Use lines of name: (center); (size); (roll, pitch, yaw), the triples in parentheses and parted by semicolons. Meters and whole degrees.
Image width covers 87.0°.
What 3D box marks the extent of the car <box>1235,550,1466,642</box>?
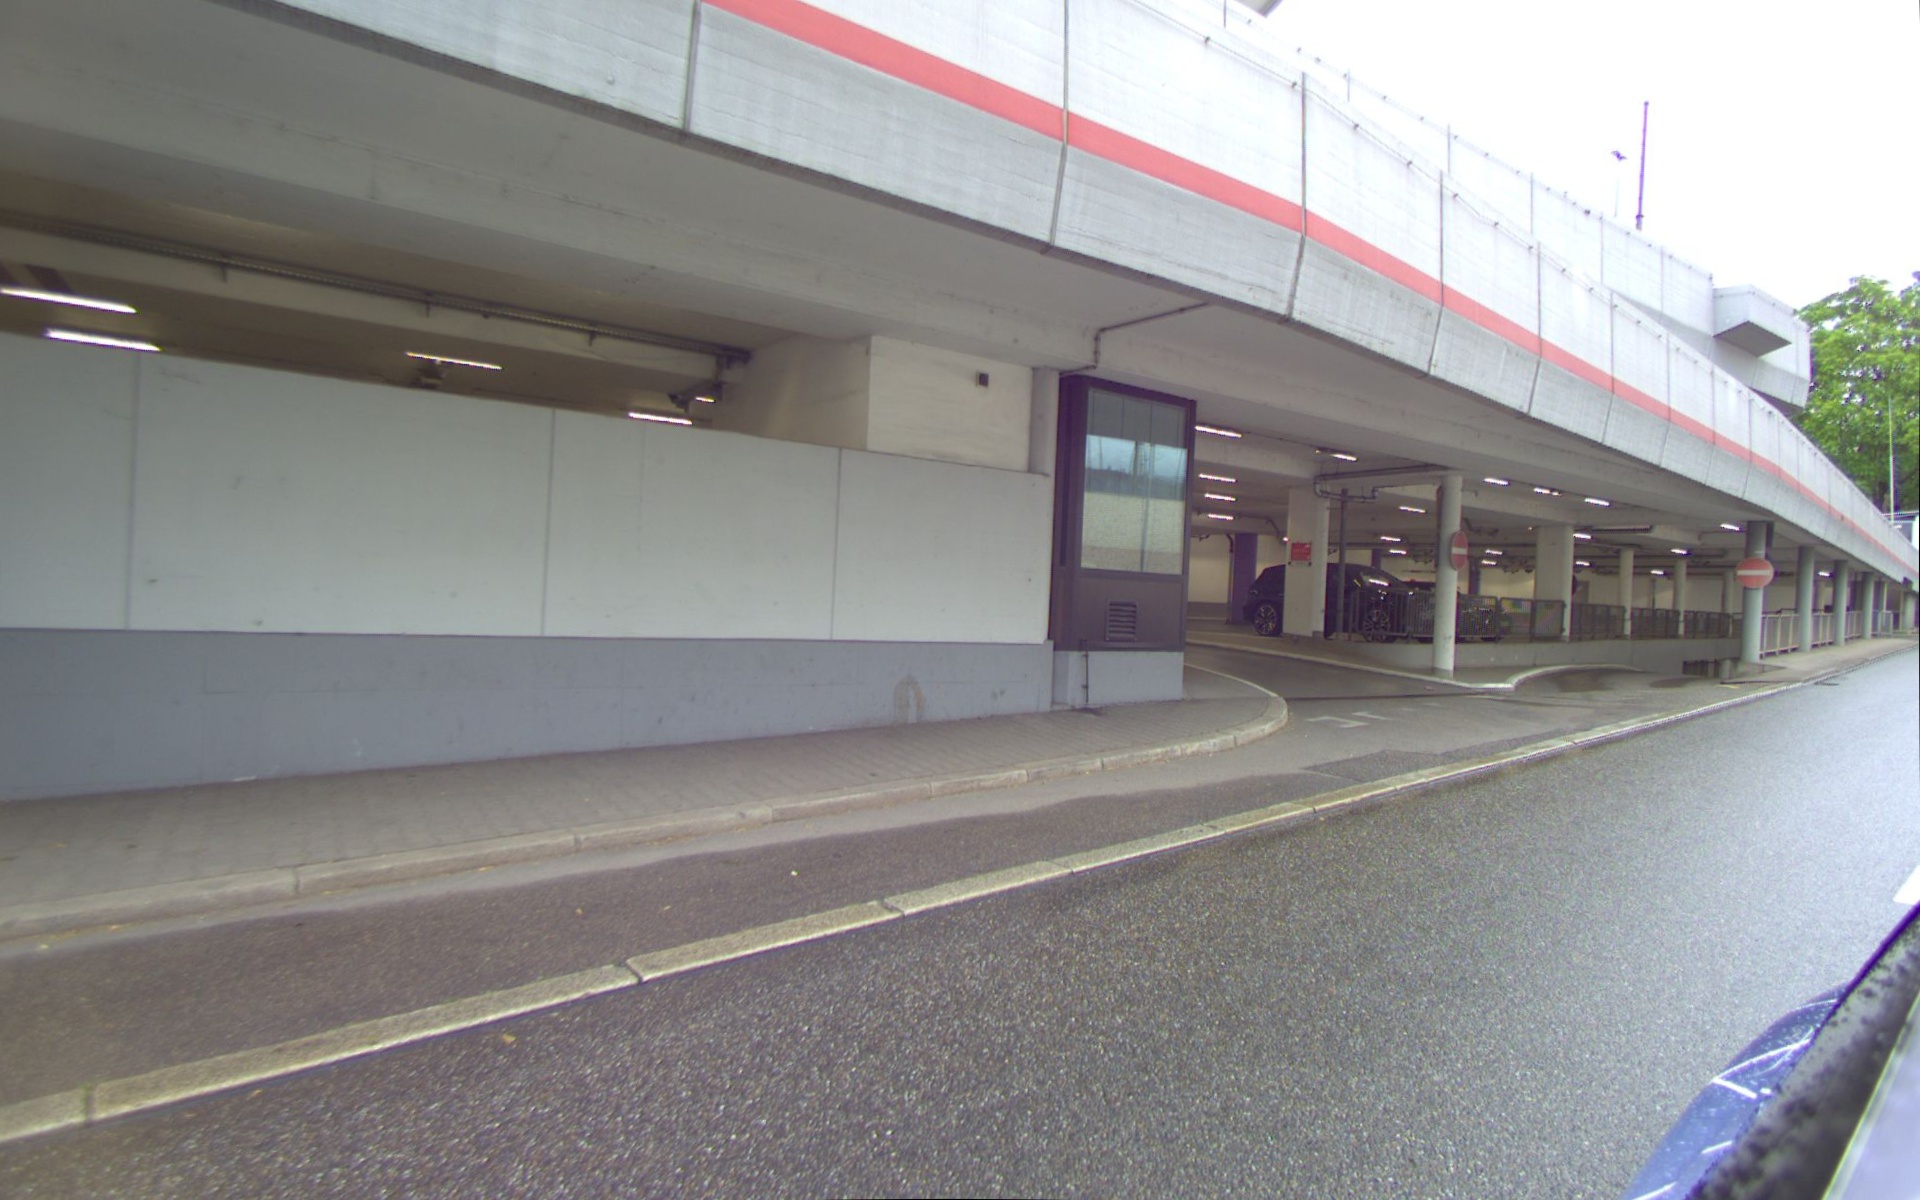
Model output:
car: (8.262, -0.101, 21.802); (1.960, 1.682, 4.261); (5, -2, -31)

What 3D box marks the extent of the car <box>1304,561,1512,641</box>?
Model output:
car: (10.861, -0.009, 24.843); (1.960, 1.682, 4.261); (5, -2, -31)
